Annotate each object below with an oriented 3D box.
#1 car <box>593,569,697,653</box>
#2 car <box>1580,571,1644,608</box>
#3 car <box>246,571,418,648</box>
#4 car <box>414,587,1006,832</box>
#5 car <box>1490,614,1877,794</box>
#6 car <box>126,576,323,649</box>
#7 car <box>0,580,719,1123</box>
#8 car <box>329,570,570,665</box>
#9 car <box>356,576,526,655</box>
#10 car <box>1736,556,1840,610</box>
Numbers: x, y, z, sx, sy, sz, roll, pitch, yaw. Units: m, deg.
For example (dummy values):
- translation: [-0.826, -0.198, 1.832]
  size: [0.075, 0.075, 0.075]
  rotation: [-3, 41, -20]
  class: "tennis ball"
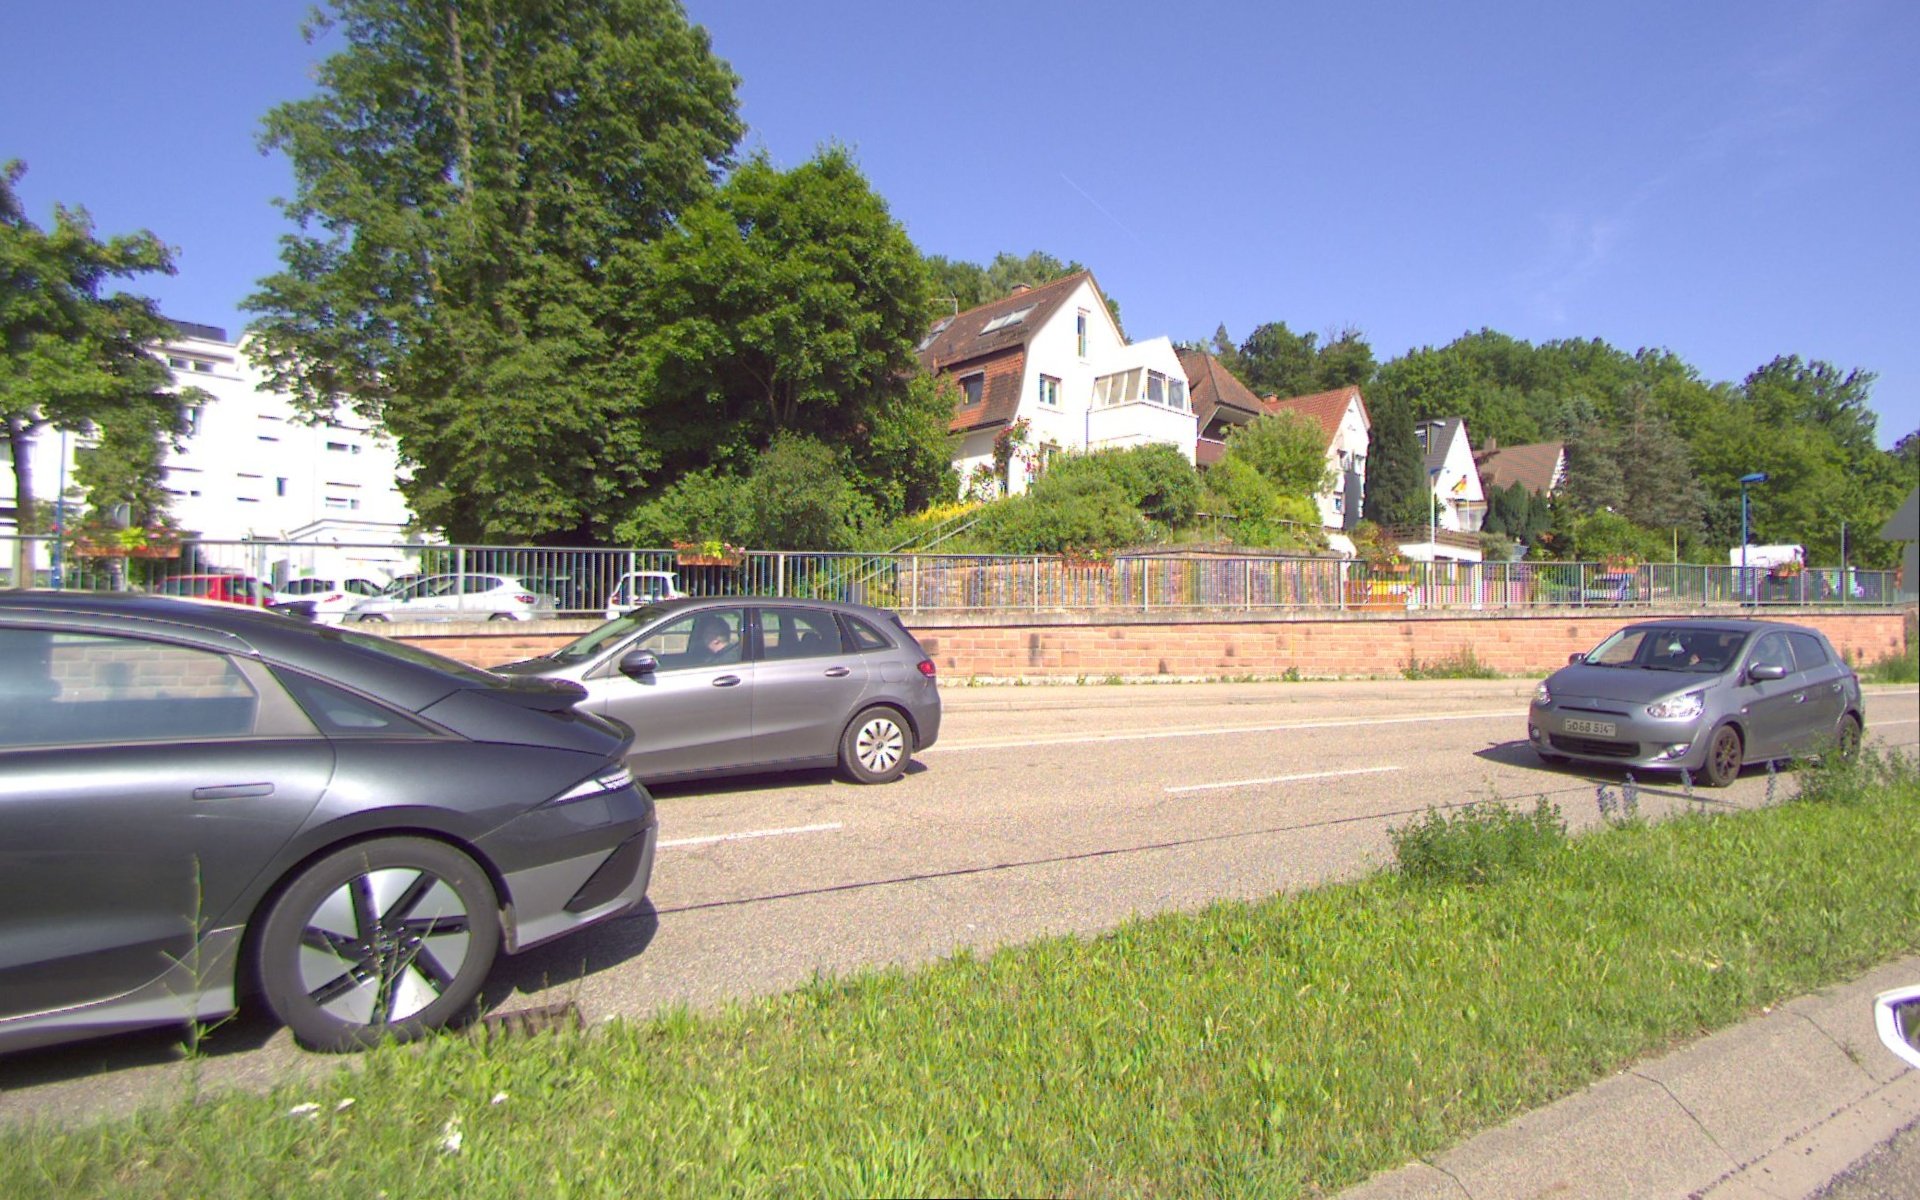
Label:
- translation: [-7.626, 0.208, 24.678]
  size: [1.879, 1.901, 3.993]
  rotation: [0, 1, -9]
  class: "car"
- translation: [31.214, -0.467, 48.049]
  size: [1.875, 1.651, 3.976]
  rotation: [0, -1, 44]
  class: "car"
- translation: [-15.043, 0.156, 24.347]
  size: [1.877, 1.724, 3.996]
  rotation: [0, 2, -5]
  class: "car"
- translation: [-2.025, 0.737, 8.439]
  size: [4.453, 1.585, 1.985]
  rotation: [1, 0, -28]
  class: "car"
- translation: [7.239, 0.916, 9.997]
  size: [3.793, 1.460, 1.665]
  rotation: [1, 0, -29]
  class: "car"
- translation: [-17.439, 0.227, 24.091]
  size: [1.877, 1.581, 3.998]
  rotation: [1, 1, -2]
  class: "car"
- translation: [-3.358, 0.684, 3.335]
  size: [4.667, 1.490, 1.780]
  rotation: [1, 0, -34]
  class: "car"
- translation: [-10.356, 0.362, 20.605]
  size: [3.922, 1.813, 1.921]
  rotation: [1, -1, -2]
  class: "car"
- translation: [-12.186, 0.297, 23.924]
  size: [1.961, 1.694, 3.999]
  rotation: [1, 1, 0]
  class: "car"
- translation: [31.769, -0.665, 38.513]
  size: [4.687, 1.946, 2.006]
  rotation: [0, 2, -37]
  class: "car"
